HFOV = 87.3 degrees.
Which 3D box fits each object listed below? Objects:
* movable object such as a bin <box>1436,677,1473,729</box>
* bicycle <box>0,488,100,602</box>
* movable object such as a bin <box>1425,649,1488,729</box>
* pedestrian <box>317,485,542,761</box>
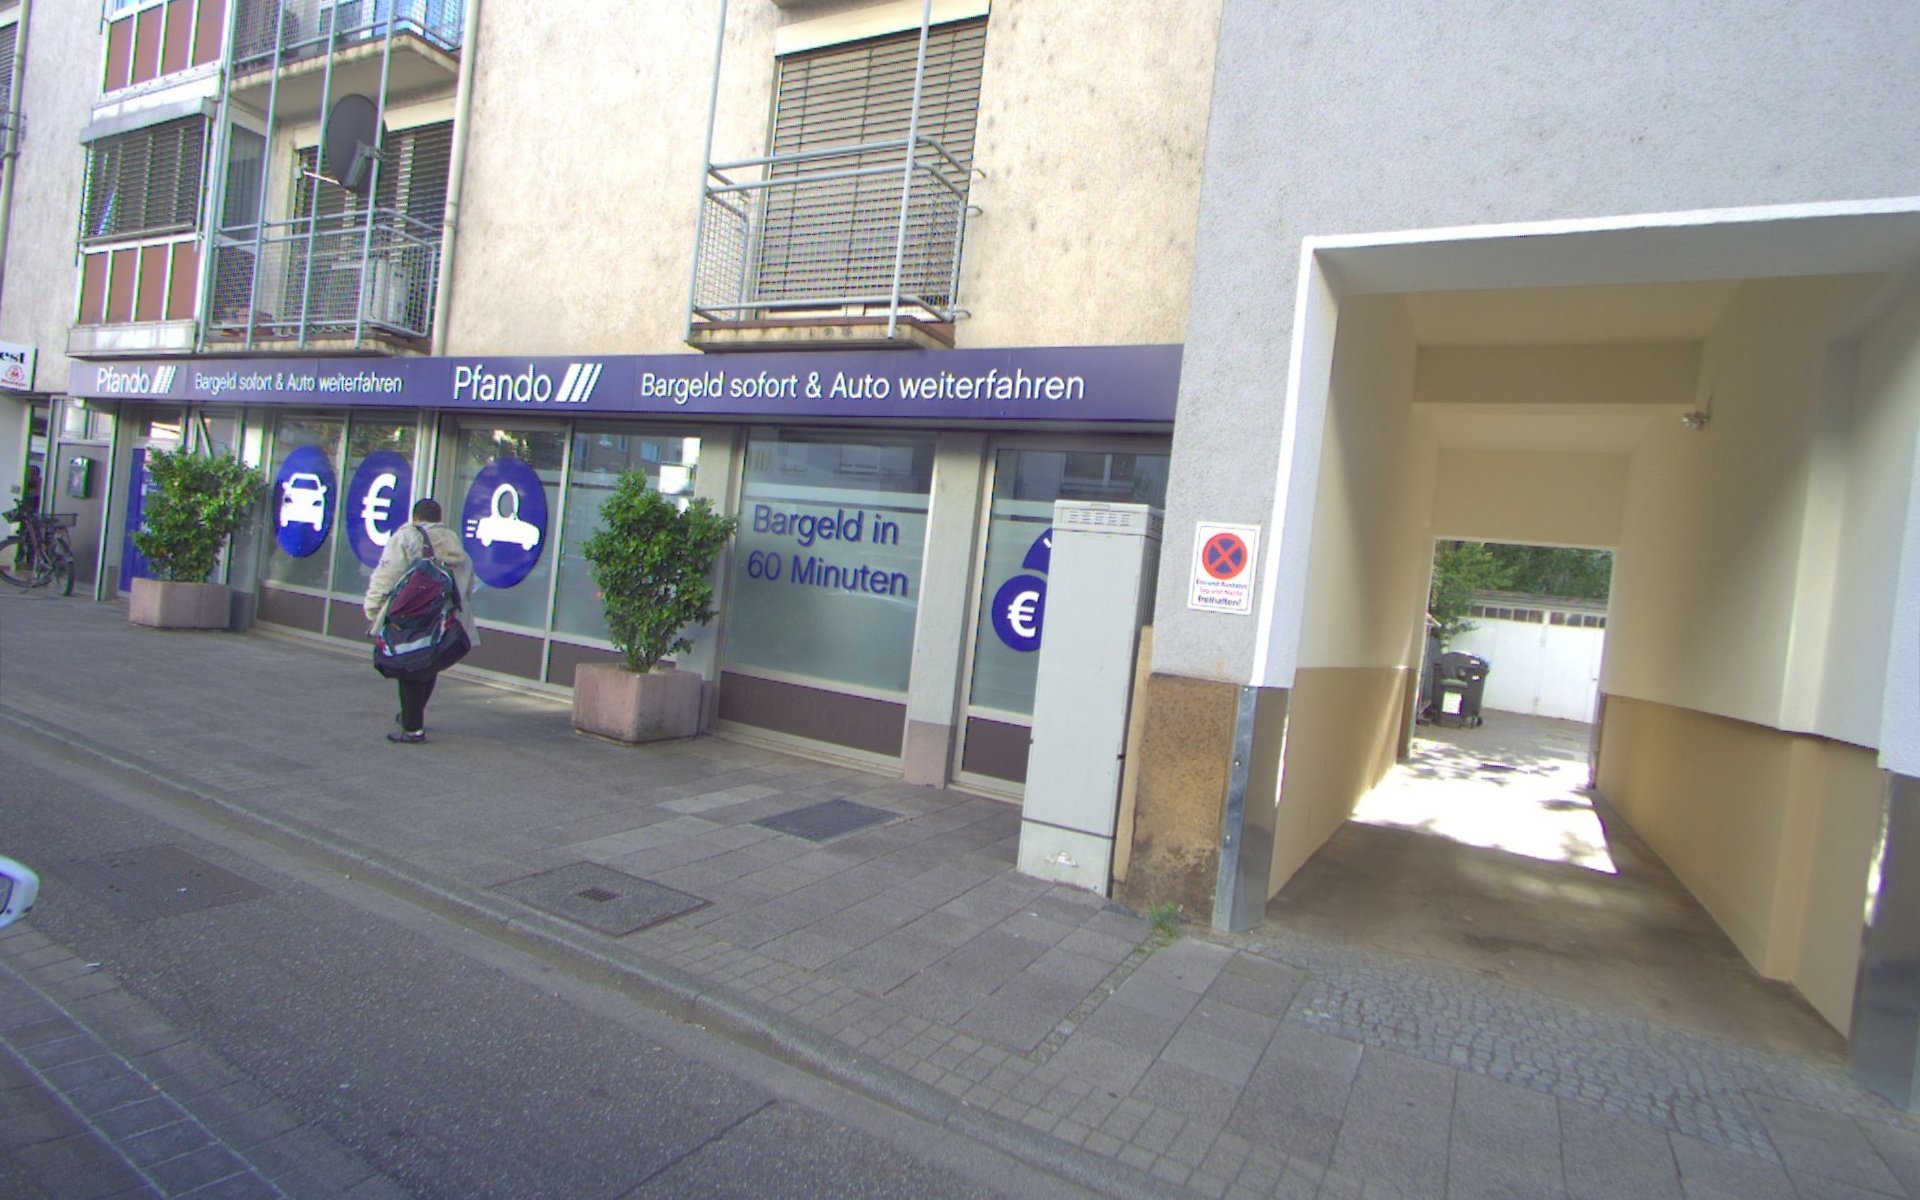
[{"bbox_3d":[9.561,1.980,19.454,0.518,0.922,0.580,7,1,29],"label":"movable object such as a bin"},{"bbox_3d":[-11.843,-0.728,12.880,1.879,1.280,0.640,7,1,32],"label":"bicycle"},{"bbox_3d":[10.113,1.787,20.458,0.945,1.426,1.598,7,1,29],"label":"movable object such as a bin"},{"bbox_3d":[-3.429,0.127,6.529,0.853,1.593,0.874,8,3,29],"label":"pedestrian"}]
